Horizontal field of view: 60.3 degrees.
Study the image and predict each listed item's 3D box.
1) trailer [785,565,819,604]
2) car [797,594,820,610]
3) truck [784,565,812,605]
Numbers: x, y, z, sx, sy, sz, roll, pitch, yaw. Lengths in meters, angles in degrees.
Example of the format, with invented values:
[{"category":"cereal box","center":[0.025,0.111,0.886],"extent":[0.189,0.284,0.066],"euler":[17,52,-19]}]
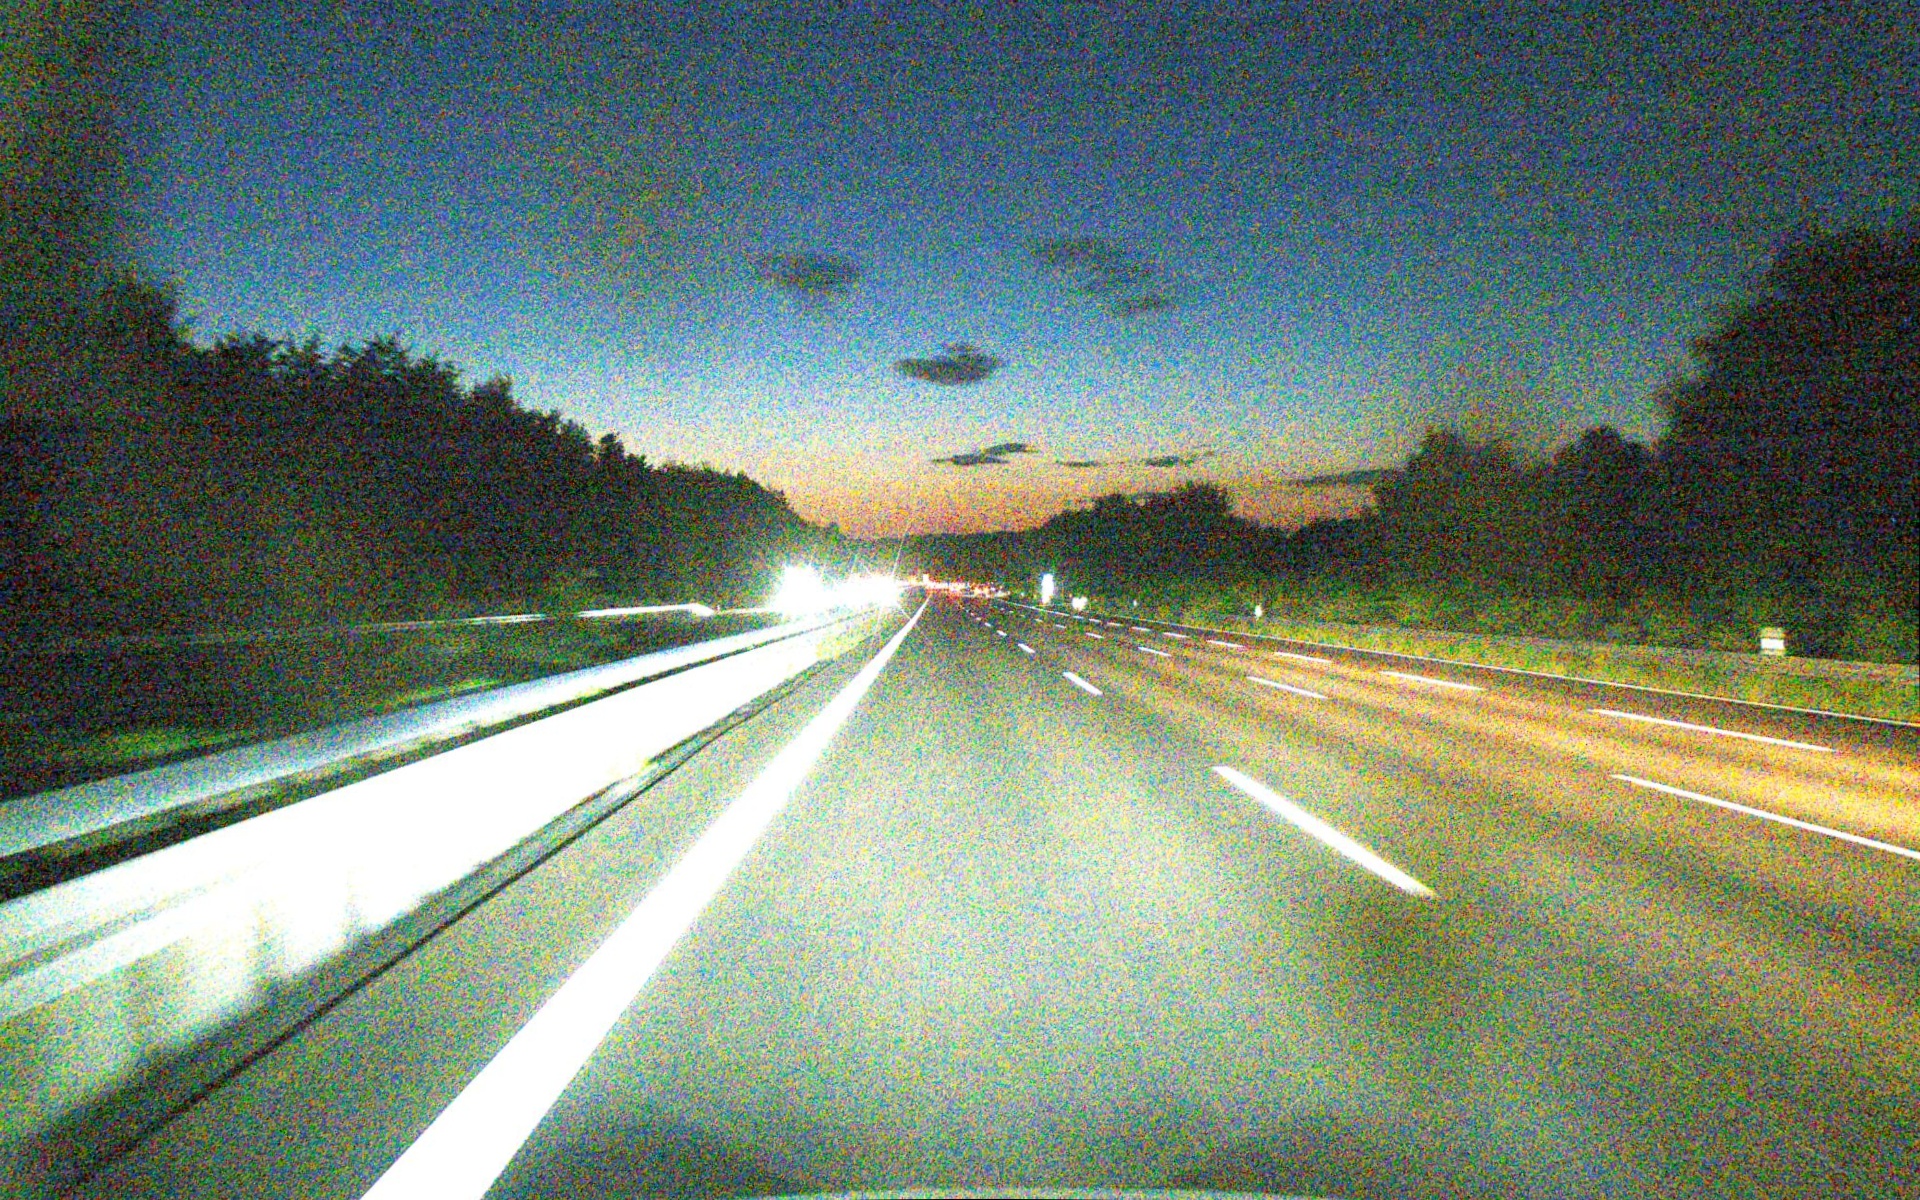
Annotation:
[{"category":"trailer","center":[-18.308,-1.708,192.093],"extent":[2.802,4.249,13.901],"euler":[-2,0,-1]},{"category":"car","center":[-14.415,0.184,157.278],"extent":[1.954,1.487,4.689],"euler":[-2,0,-3]},{"category":"truck","center":[-18.115,-1.654,185.158],"extent":[2.698,4.285,5.824],"euler":[-1,0,-1]}]
